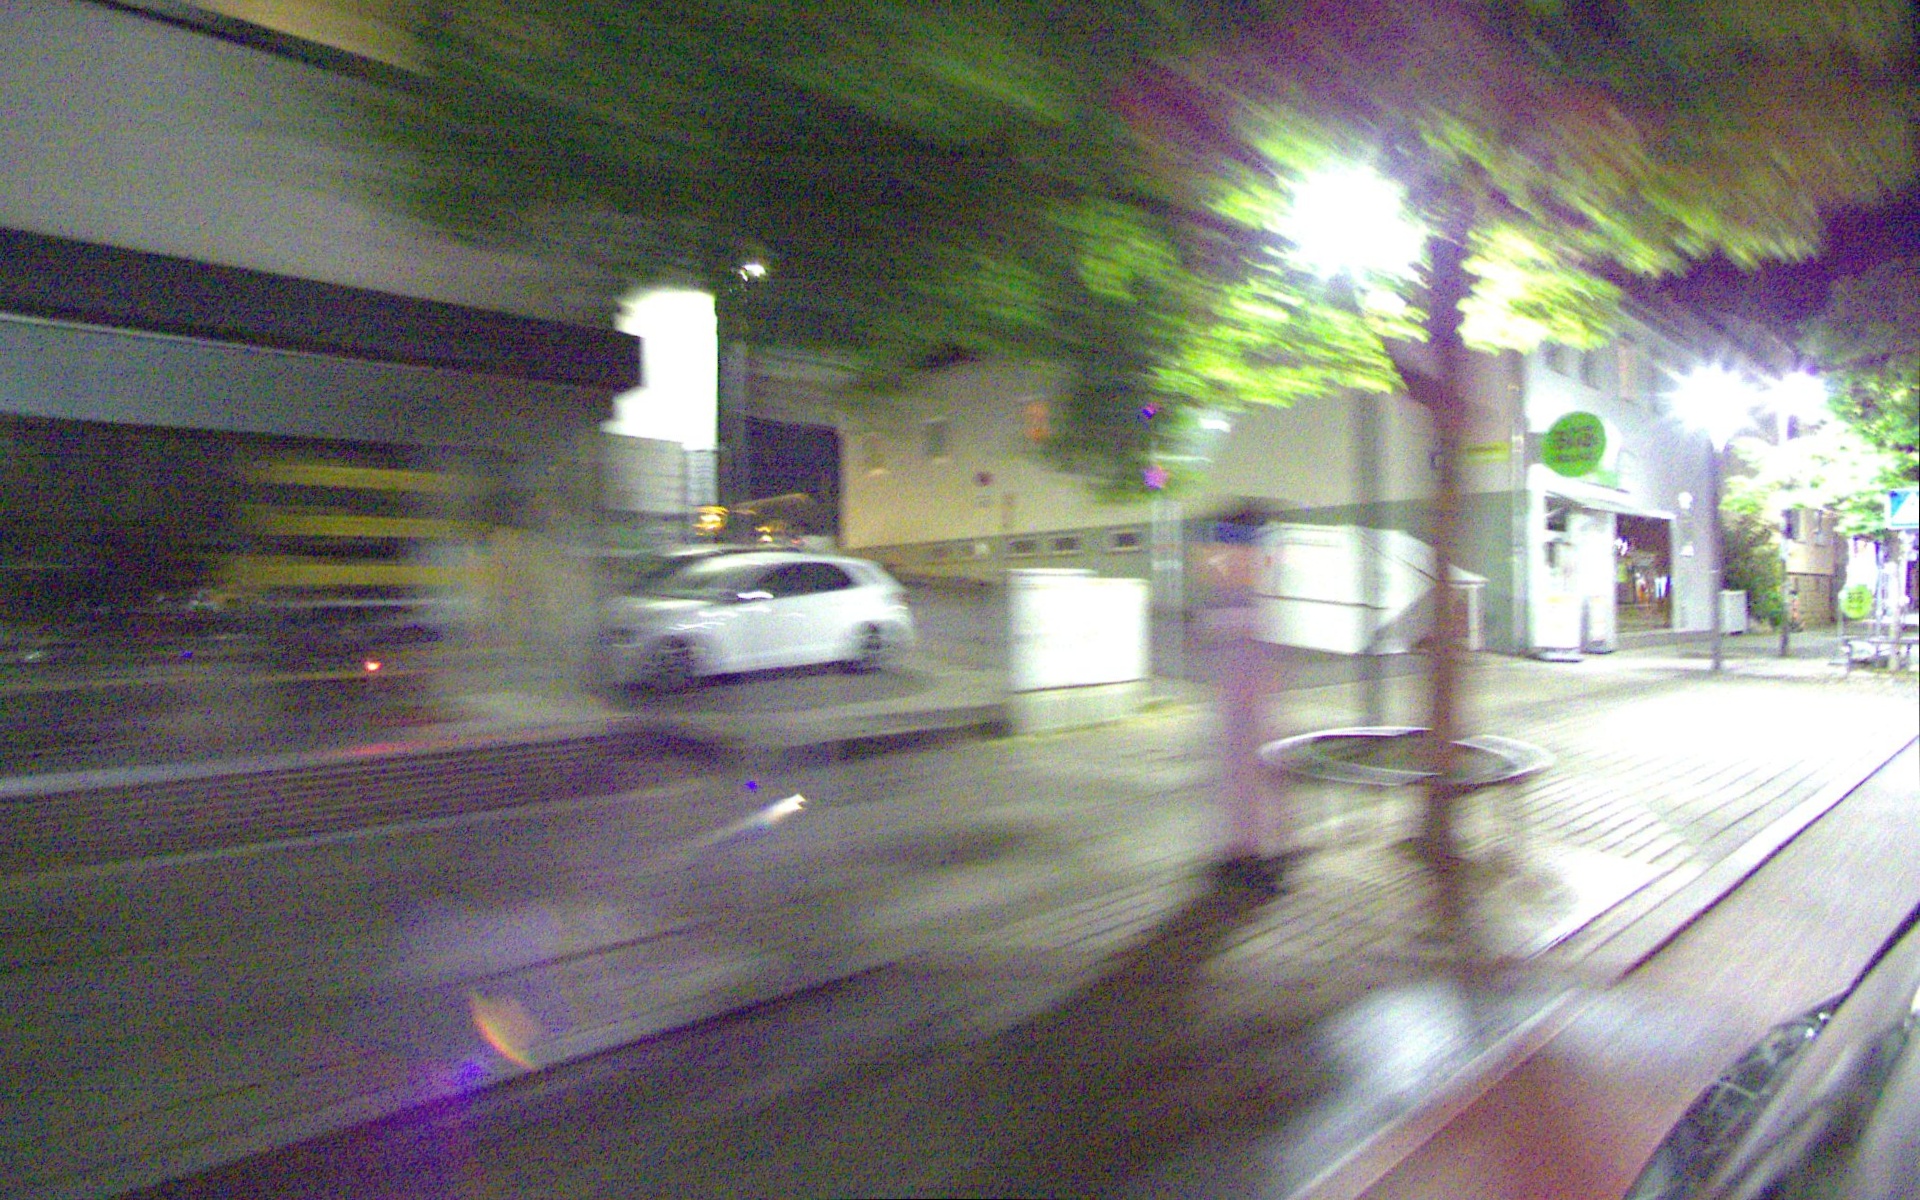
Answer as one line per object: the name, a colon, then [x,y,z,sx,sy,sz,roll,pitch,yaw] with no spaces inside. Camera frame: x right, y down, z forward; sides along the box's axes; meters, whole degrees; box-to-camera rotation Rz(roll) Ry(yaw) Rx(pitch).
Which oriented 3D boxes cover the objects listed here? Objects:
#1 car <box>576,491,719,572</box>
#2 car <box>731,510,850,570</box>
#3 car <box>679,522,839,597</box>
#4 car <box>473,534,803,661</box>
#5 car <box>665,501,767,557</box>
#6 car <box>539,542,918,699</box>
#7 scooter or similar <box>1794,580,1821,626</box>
car: [-8.597,-1.938,27.546,1.901,1.888,4.857,-3,8,-42]
car: [-5.312,-1.888,31.312,1.698,1.567,4.053,-1,7,-42]
car: [-4.609,-0.990,22.813,1.698,1.355,4.053,-3,8,-42]
car: [-4.367,-0.151,14.059,3.988,1.477,1.808,-3,6,-42]
car: [-8.465,-2.464,34.885,1.697,1.667,4.054,-1,6,-41]
car: [-2.604,0.091,11.930,3.988,1.477,1.808,-3,6,-42]
scooter or similar: [25.087,0.084,29.940,1.282,1.292,0.374,-3,1,-40]
